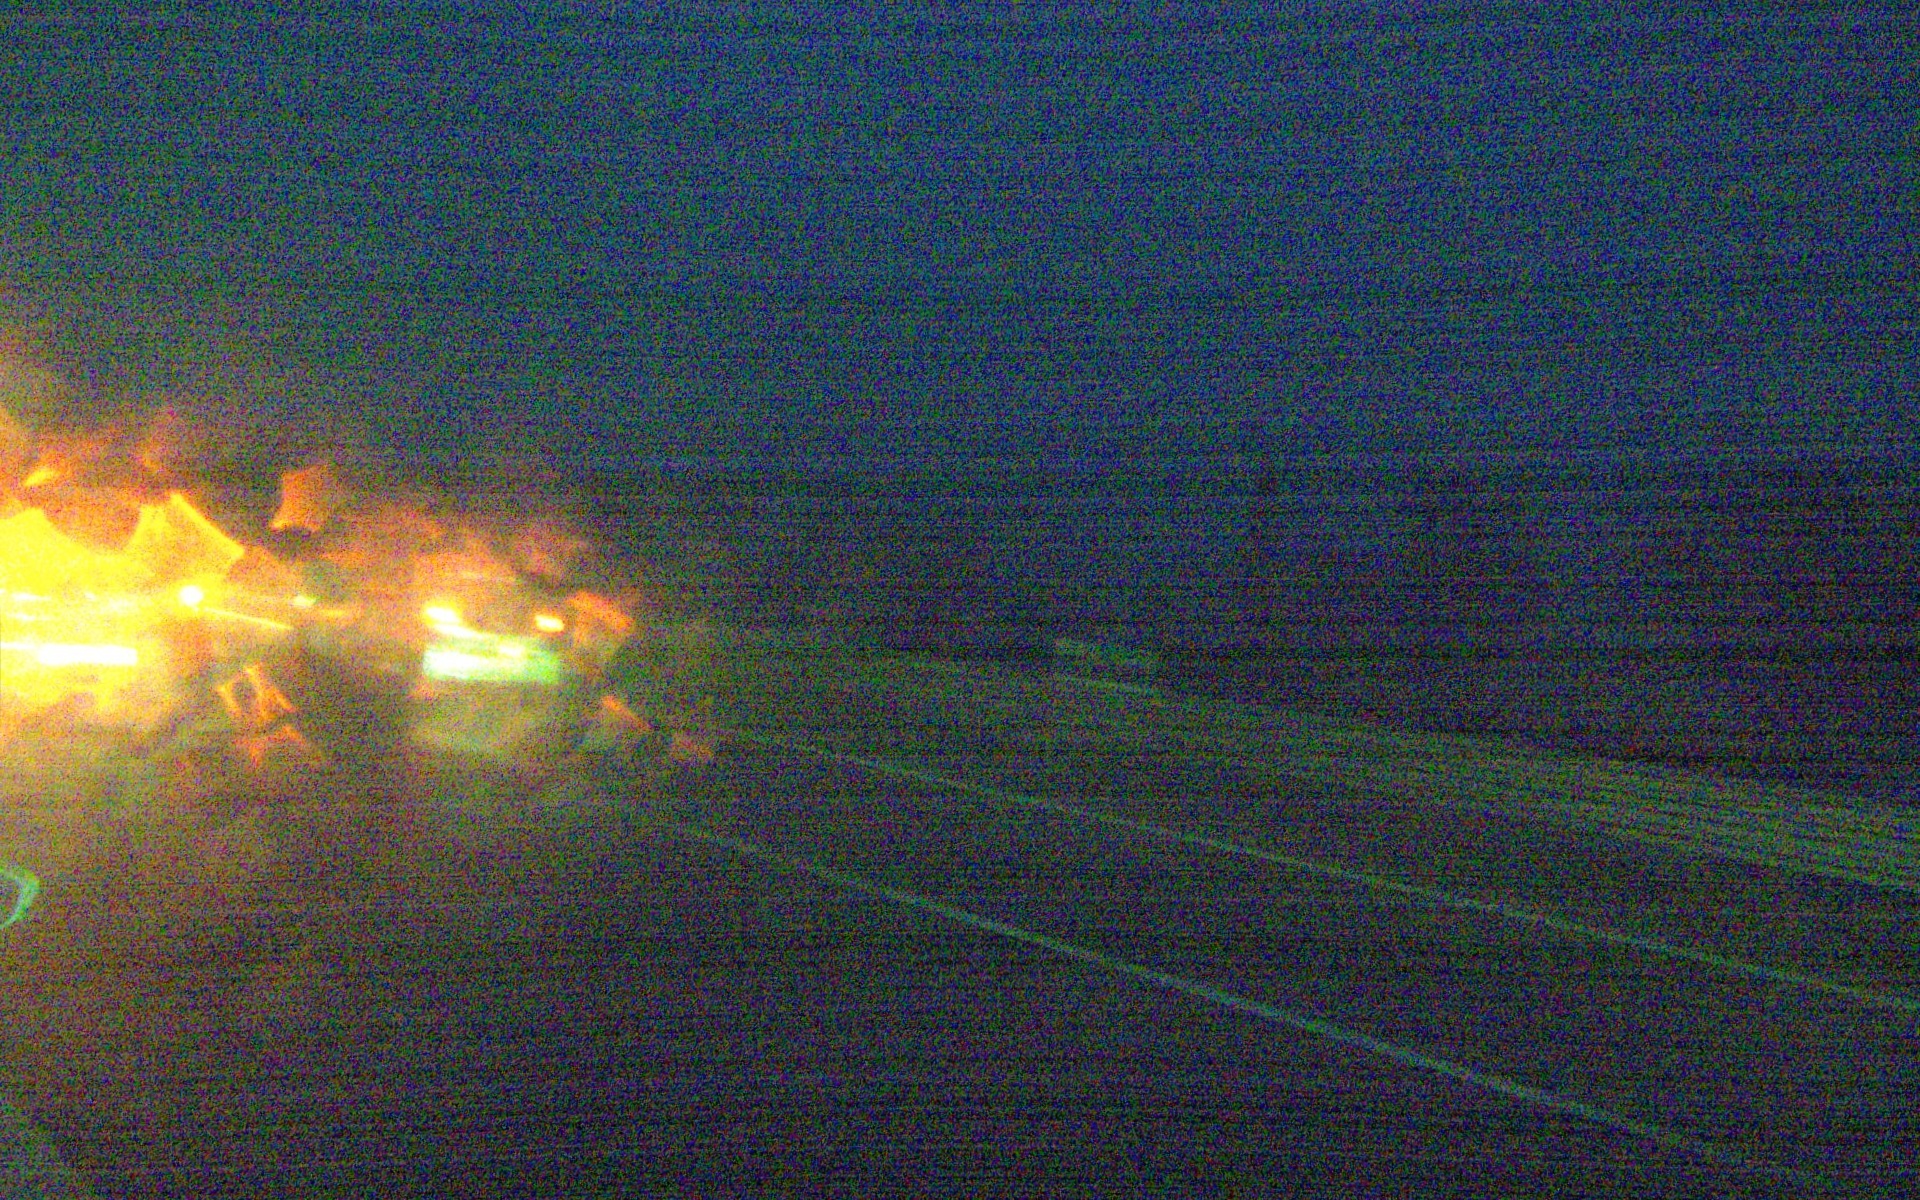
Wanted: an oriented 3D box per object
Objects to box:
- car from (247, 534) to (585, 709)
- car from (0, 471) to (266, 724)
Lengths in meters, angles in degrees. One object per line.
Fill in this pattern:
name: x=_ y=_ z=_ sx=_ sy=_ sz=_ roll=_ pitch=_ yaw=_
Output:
car: x=-6.512 y=0.210 z=11.942 sx=3.946 sy=1.521 sz=1.642 roll=7 pitch=0 yaw=31
car: x=-7.637 y=-0.143 z=7.988 sx=4.419 sy=1.594 sz=1.743 roll=6 pitch=-1 yaw=31
